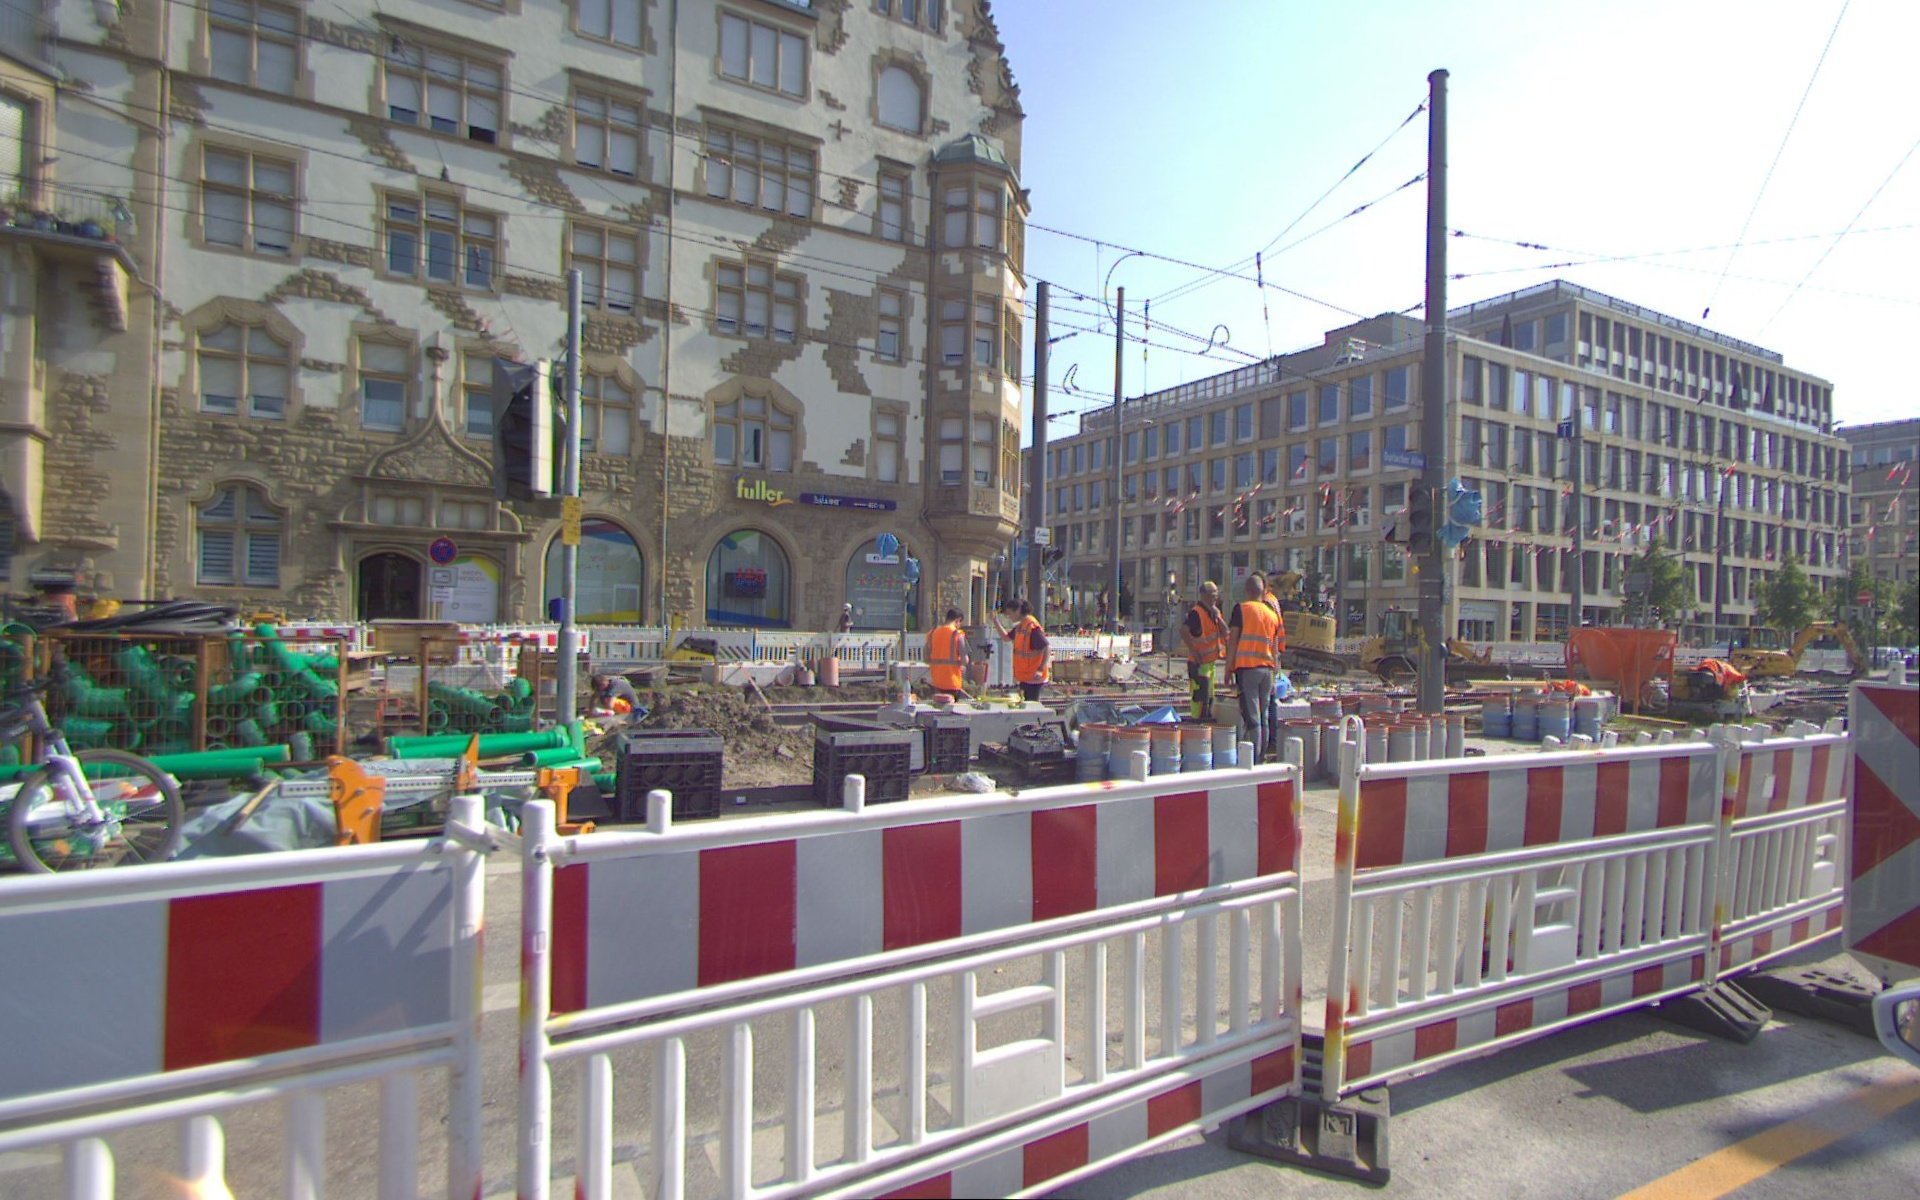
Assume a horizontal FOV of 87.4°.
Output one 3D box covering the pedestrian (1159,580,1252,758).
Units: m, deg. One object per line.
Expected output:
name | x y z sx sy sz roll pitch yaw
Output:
pedestrian | 2.720 0.757 11.166 0.697 1.895 0.718 2 -2 -21

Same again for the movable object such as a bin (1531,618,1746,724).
movable object such as a bin | 11.083 1.125 16.392 3.246 1.579 1.594 2 -2 -28

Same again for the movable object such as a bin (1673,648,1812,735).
movable object such as a bin | 12.019 1.383 15.413 2.185 1.227 0.883 2 -2 -28

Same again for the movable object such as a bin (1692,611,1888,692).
movable object such as a bin | 34.955 2.179 42.233 8.378 2.996 3.596 3 -1 -30

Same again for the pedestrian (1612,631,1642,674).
pedestrian | 29.483 2.316 44.415 0.803 1.889 0.915 2 -1 -40

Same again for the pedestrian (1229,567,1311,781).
pedestrian | 3.103 0.716 10.034 0.683 2.041 0.674 1 -2 24

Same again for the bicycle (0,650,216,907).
bicycle | -4.625 0.799 4.549 1.952 1.113 0.557 4 -1 -40

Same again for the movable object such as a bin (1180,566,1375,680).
movable object such as a bin | 13.726 1.069 44.294 4.889 4.404 7.357 3 -2 -16

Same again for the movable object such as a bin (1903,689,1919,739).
movable object such as a bin | 14.442 1.675 14.192 0.703 0.723 1.724 1 -2 4

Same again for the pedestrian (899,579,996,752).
pedestrian | -0.154 0.721 11.199 0.870 1.840 0.828 2 -2 -15

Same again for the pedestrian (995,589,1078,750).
pedestrian | 0.921 0.806 11.933 0.813 1.833 0.755 1 -2 16

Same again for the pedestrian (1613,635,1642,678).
pedestrian | 30.271 2.547 45.551 0.741 1.889 0.810 2 -1 3

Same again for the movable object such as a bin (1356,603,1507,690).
movable object such as a bin | 16.778 1.625 36.007 4.724 2.871 2.448 1 -2 23

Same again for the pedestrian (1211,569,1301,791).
pedestrian | 2.739 0.711 9.264 0.700 1.952 0.685 1 -2 24
